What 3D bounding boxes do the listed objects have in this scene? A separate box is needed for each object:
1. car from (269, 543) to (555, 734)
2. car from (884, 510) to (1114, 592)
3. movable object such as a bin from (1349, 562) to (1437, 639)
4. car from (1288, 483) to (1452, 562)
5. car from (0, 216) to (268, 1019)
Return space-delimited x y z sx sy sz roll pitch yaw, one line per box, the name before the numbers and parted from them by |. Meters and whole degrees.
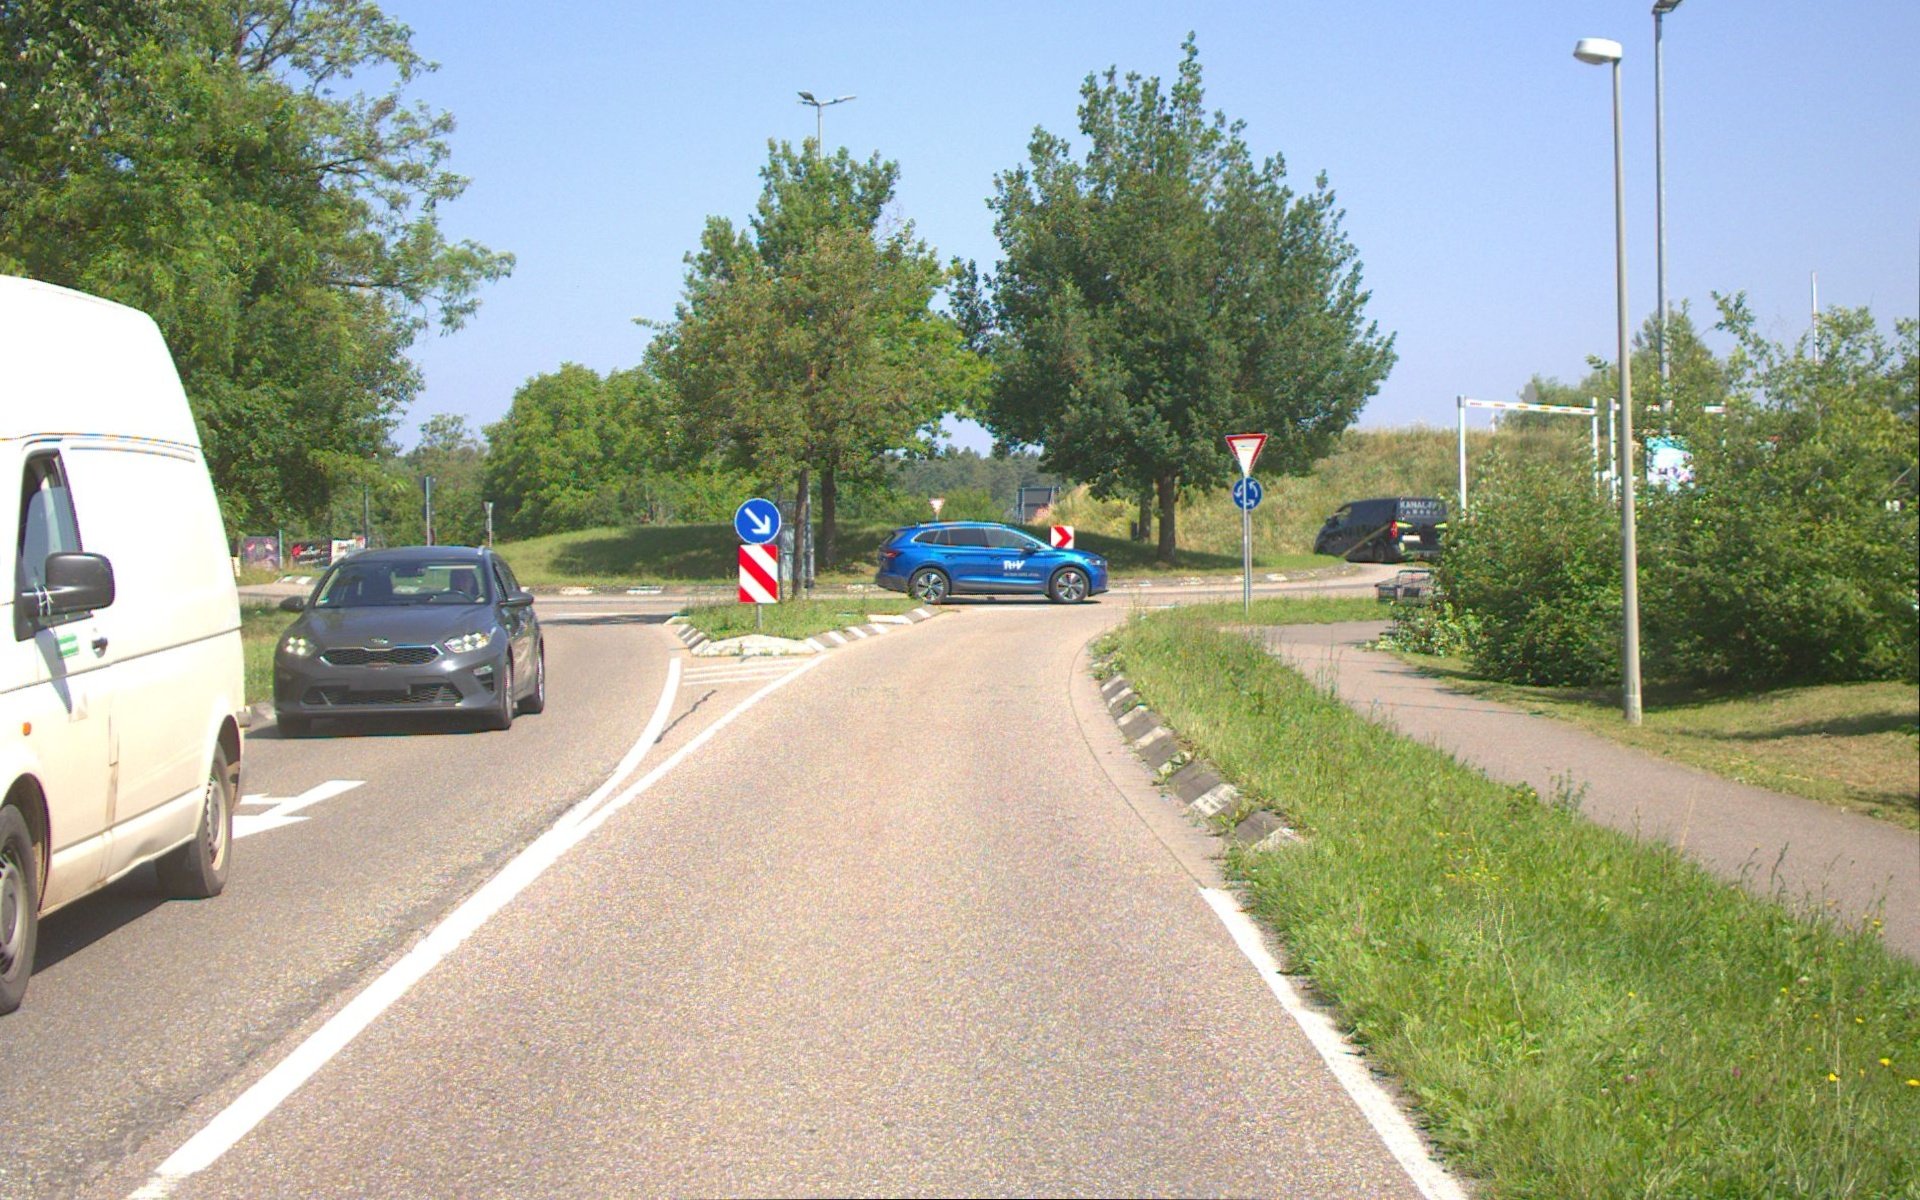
car | -4.370 0.250 27.968 1.698 1.384 4.294 -1 1 -1
car | 0.747 -0.988 68.162 4.413 1.566 1.716 -1 2 -4
movable object such as a bin | 6.571 -0.001 52.111 0.869 1.116 1.453 0 2 28
car | 10.876 -2.048 91.313 1.994 2.007 3.998 -2 2 -40
car | -3.865 0.016 12.173 1.912 2.392 4.911 -1 1 -1
